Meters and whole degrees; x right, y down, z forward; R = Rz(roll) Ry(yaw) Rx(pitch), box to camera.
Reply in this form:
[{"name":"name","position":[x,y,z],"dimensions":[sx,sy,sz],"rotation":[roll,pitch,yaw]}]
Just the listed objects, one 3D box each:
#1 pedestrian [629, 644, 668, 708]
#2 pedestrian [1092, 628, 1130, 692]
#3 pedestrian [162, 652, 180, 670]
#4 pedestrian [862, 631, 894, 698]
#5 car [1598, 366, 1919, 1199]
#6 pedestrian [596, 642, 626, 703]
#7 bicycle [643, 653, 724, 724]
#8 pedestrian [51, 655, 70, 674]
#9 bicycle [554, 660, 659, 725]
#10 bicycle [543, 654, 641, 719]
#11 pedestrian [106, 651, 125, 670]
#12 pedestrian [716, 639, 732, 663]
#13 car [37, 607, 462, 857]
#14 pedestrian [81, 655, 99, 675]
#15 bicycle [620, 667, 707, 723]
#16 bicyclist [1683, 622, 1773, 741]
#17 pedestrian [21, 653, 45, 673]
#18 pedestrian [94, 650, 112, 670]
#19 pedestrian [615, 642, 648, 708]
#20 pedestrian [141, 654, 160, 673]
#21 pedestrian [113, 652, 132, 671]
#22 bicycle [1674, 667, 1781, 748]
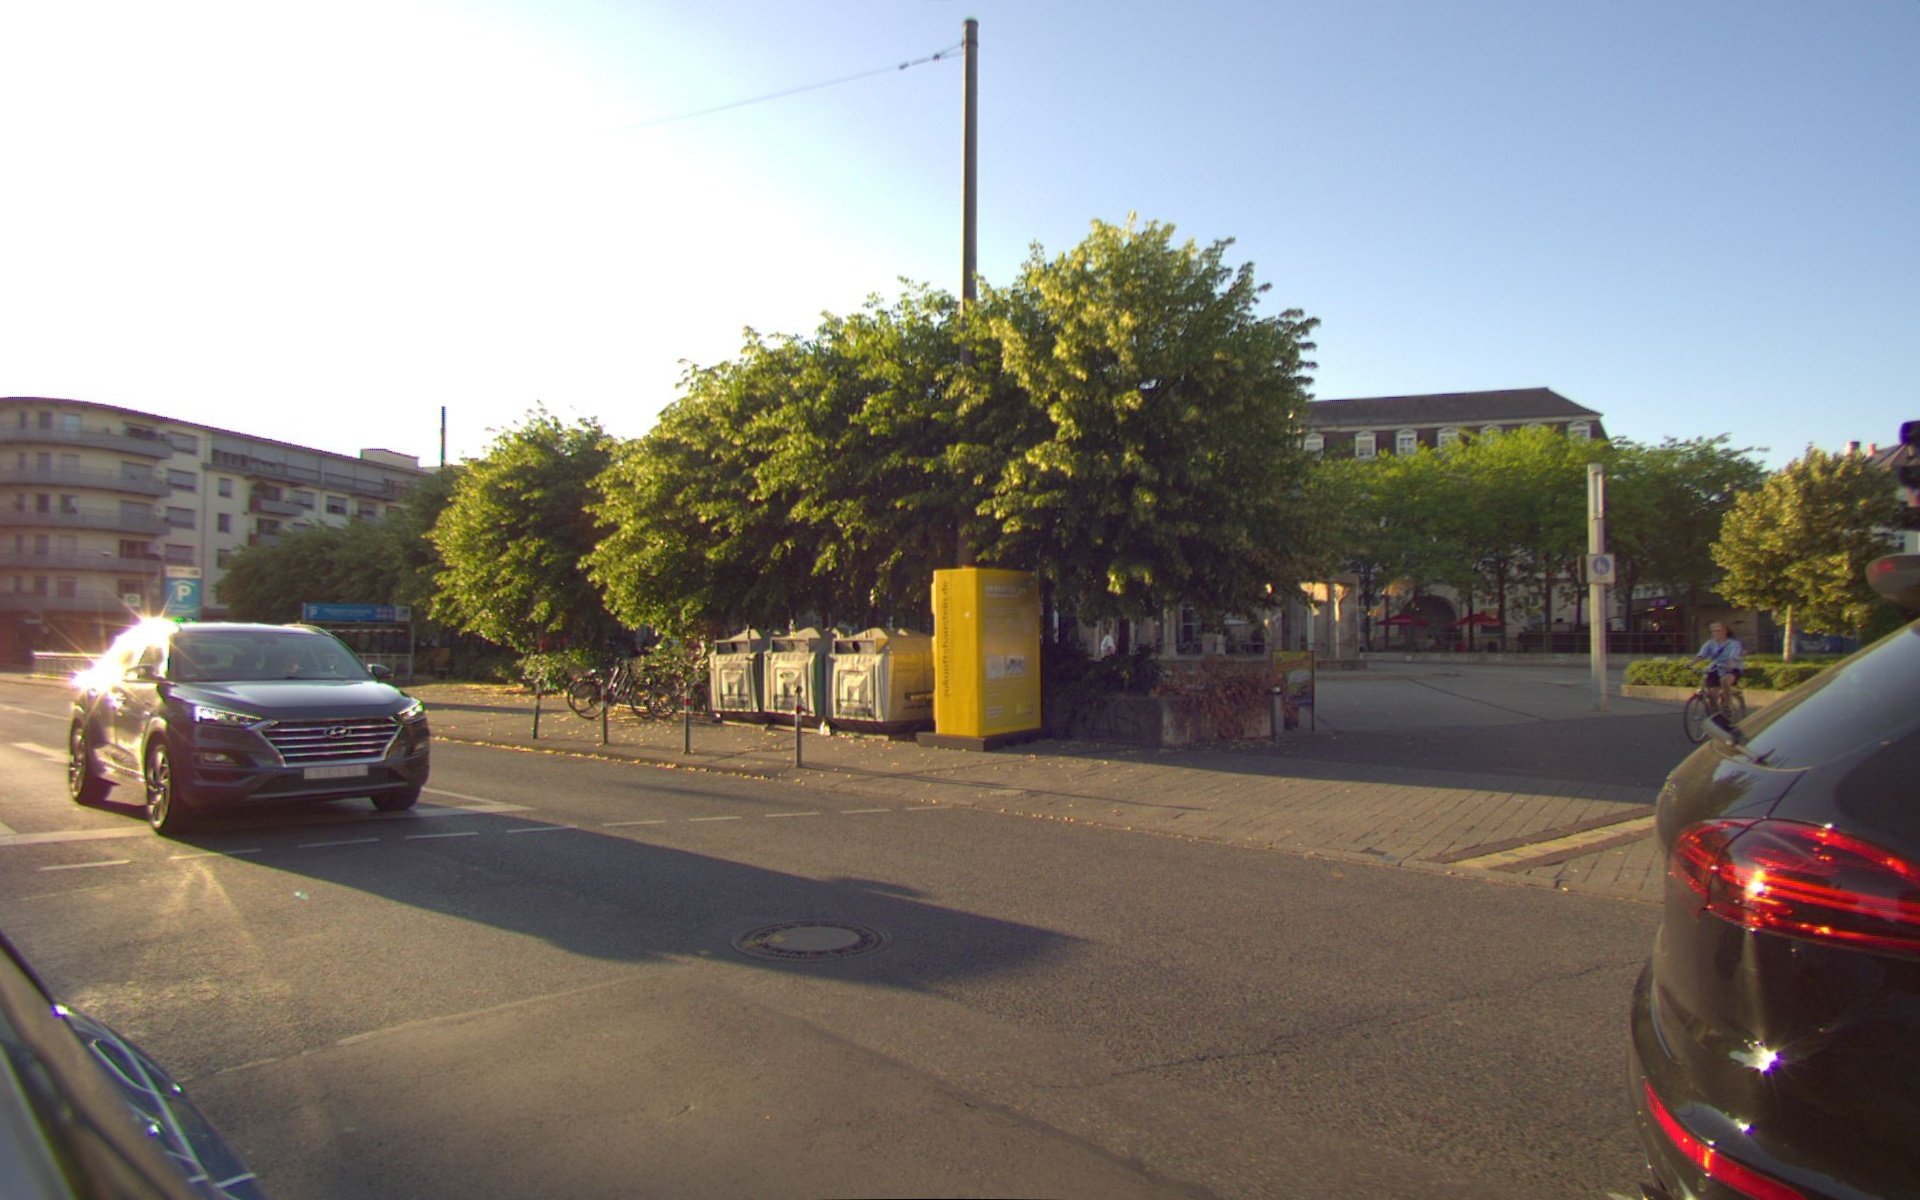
[{"name":"pedestrian","position":[-10.165,2.462,33.019],"dimensions":[0.852,2.029,0.898],"rotation":[-2,-3,26]},{"name":"pedestrian","position":[3.949,1.550,26.554],"dimensions":[0.693,1.633,0.843],"rotation":[0,-2,-13]},{"name":"pedestrian","position":[-59.805,4.589,76.746],"dimensions":[0.721,1.332,0.891],"rotation":[0,-3,-12]},{"name":"pedestrian","position":[-2.190,1.709,26.993],"dimensions":[0.723,1.738,0.899],"rotation":[0,-2,-14]},{"name":"car","position":[3.332,0.540,0.831],"dimensions":[4.555,1.727,1.930],"rotation":[-2,-4,38]},{"name":"pedestrian","position":[-11.817,2.427,34.241],"dimensions":[0.890,2.029,0.741],"rotation":[1,-3,-24]},{"name":"bicycle","position":[-5.321,1.687,19.552],"dimensions":[0.444,1.262,1.571],"rotation":[-2,-2,37]},{"name":"pedestrian","position":[-60.137,4.311,67.661],"dimensions":[0.875,1.201,0.734],"rotation":[2,-3,-42]},{"name":"bicycle","position":[-6.915,1.786,19.893],"dimensions":[0.547,1.143,2.008],"rotation":[-2,-2,35]},{"name":"bicycle","position":[-7.780,1.803,21.486],"dimensions":[0.547,1.262,2.008],"rotation":[-2,-2,35]},{"name":"pedestrian","position":[-59.751,4.303,71.617],"dimensions":[0.813,1.332,0.684],"rotation":[-1,-3,15]},{"name":"pedestrian","position":[-14.169,3.089,60.736],"dimensions":[0.651,1.387,0.656],"rotation":[-3,-7,25]},{"name":"car","position":[-6.474,1.019,9.047],"dimensions":[4.443,1.702,1.854],"rotation":[-2,-4,38]},{"name":"pedestrian","position":[-59.814,4.467,69.585],"dimensions":[0.887,1.332,0.723],"rotation":[-2,-3,38]},{"name":"bicycle","position":[-5.782,1.834,19.806],"dimensions":[0.547,0.986,1.659],"rotation":[-2,-2,35]},{"name":"bicyclist","position":[11.675,1.216,15.398],"dimensions":[0.766,1.737,0.857],"rotation":[2,-4,-36]},{"name":"pedestrian","position":[-60.838,4.131,66.449],"dimensions":[0.725,1.332,0.885],"rotation":[-1,-3,12]},{"name":"pedestrian","position":[-59.378,4.165,70.123],"dimensions":[0.887,1.332,0.724],"rotation":[-2,-3,37]},{"name":"pedestrian","position":[-10.405,2.360,32.026],"dimensions":[0.890,2.029,0.859],"rotation":[1,-3,-24]},{"name":"pedestrian","position":[-58.568,4.578,73.244],"dimensions":[0.883,1.332,0.727],"rotation":[-2,-3,24]},{"name":"pedestrian","position":[-58.890,4.304,71.179],"dimensions":[0.884,1.332,0.726],"rotation":[-2,-3,26]},{"name":"bicycle","position":[11.652,1.597,15.346],"dimensions":[1.889,1.126,0.707],"rotation":[2,-3,-34]}]
